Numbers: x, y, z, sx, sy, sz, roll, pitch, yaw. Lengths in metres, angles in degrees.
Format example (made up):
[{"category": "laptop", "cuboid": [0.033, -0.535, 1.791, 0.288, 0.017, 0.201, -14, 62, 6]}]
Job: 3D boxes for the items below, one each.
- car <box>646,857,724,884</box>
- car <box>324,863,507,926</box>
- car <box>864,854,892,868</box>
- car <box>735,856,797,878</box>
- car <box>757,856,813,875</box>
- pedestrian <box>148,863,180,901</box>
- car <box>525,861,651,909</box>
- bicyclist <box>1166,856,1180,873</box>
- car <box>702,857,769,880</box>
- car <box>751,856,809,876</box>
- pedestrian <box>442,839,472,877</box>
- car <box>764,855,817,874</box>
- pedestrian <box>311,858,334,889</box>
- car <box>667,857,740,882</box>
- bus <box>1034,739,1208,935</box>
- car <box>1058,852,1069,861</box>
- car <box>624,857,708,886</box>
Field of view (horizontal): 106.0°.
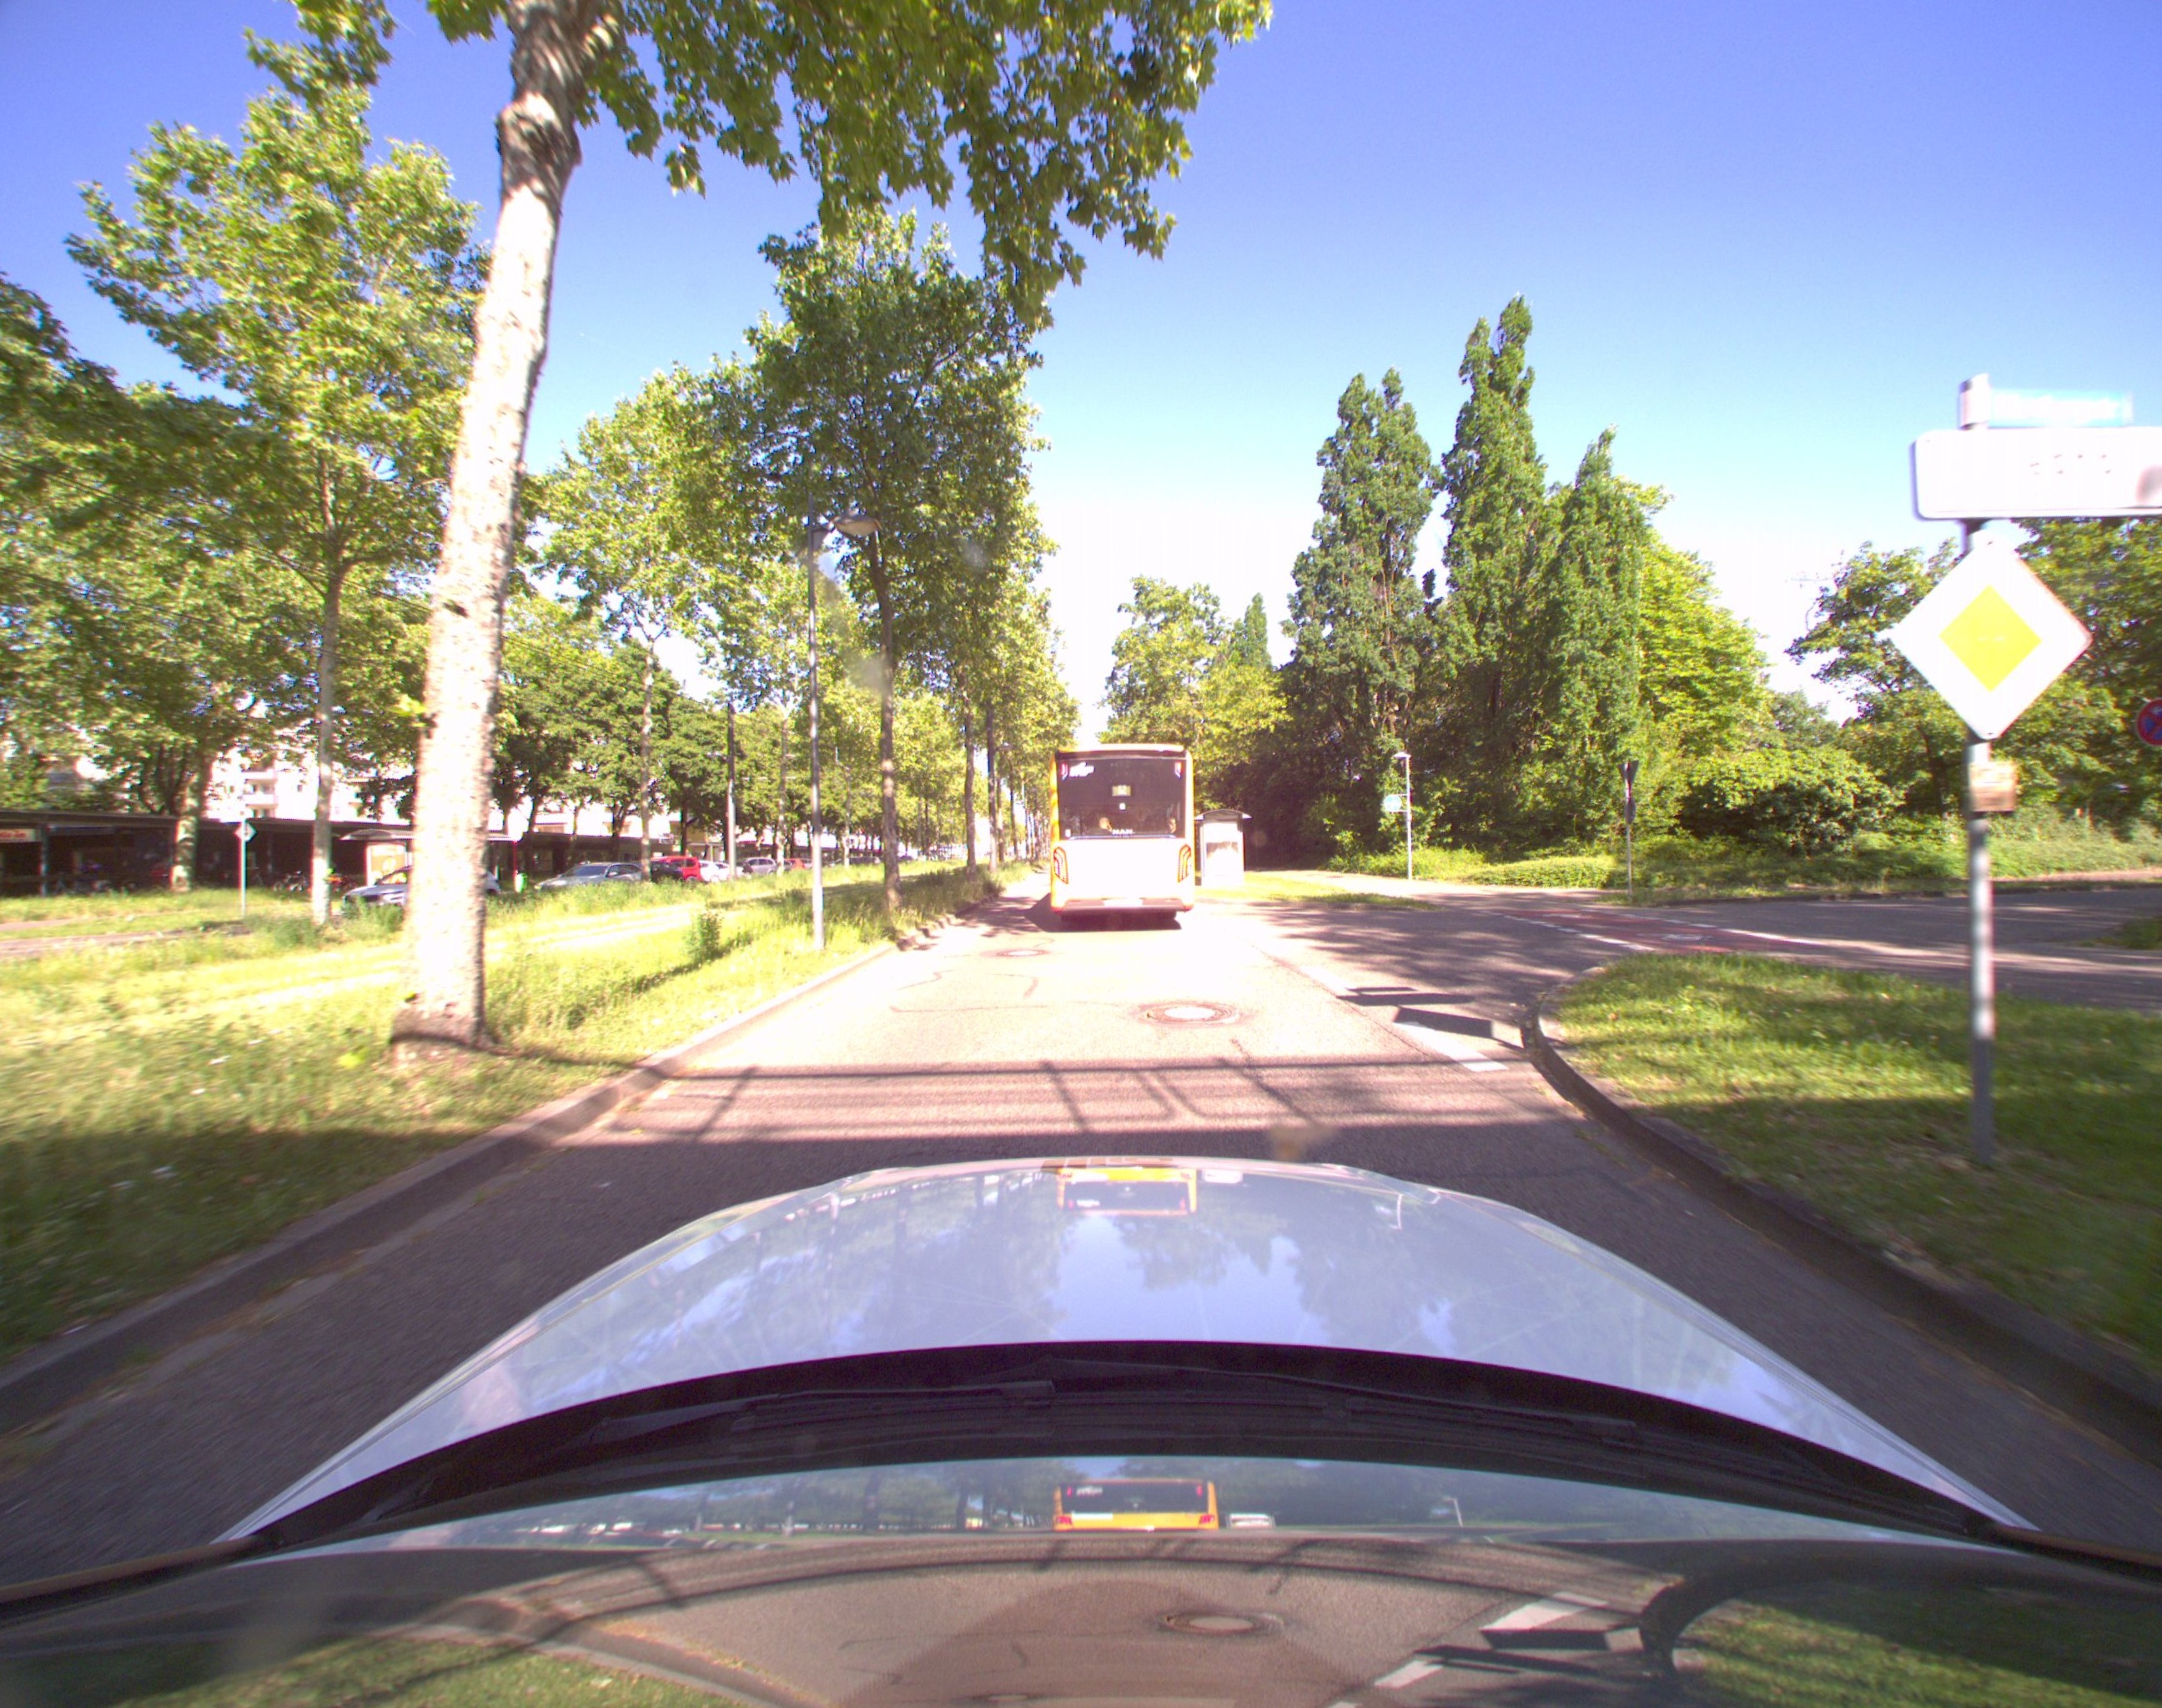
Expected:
[{"category": "car", "cuboid": [-24.816, 1.020, 51.060, 4.024, 1.510, 1.778, -2, 0, -45]}, {"category": "car", "cuboid": [-19.585, 1.123, 24.261, 1.787, 1.580, 4.290, -2, 0, 2]}, {"category": "car", "cuboid": [-22.710, 0.766, 91.297, 1.786, 1.510, 4.006, -2, 0, 5]}, {"category": "car", "cuboid": [-24.045, 0.969, 62.175, 4.024, 1.510, 1.778, -2, 0, -45]}, {"category": "car", "cuboid": [-25.026, 0.955, 68.931, 4.024, 1.510, 1.778, -2, 0, -45]}, {"category": "pedestrian", "cuboid": [-41.067, 1.246, 36.488, 0.647, 1.661, 0.649, -2, 0, -4]}, {"category": "car", "cuboid": [-18.020, 1.069, 30.061, 1.789, 1.510, 4.674, -2, 0, 0]}, {"category": "bicyclist", "cuboid": [9.429, 1.066, 83.621, 1.178, 1.661, 1.027, -2, 0, -7]}, {"category": "car", "cuboid": [-24.654, 1.005, 58.192, 4.022, 1.510, 1.778, -2, 0, -42]}, {"category": "car", "cuboid": [-24.253, 0.950, 65.693, 4.024, 1.510, 1.778, -2, 0, -45]}, {"category": "pedestrian", "cuboid": [-24.688, 0.162, 32.212, 0.645, 1.460, 0.651, -2, 0, 3]}, {"category": "car", "cuboid": [-25.580, 0.913, 71.726, 4.024, 1.510, 1.778, -2, 0, -45]}, {"category": "pedestrian", "cuboid": [-42.154, 1.088, 45.264, 0.647, 1.661, 0.649, -2, 0, -4]}, {"category": "car", "cuboid": [-25.128, 1.022, 54.226, 4.024, 1.510, 1.778, -2, 0, -45]}, {"category": "bus", "cuboid": [0.785, -0.318, 19.999, 2.889, 3.266, 12.220, -1, 0, 1]}, {"category": "car", "cuboid": [-3.683, 0.478, 168.887, 1.978, 1.643, 4.137, 1, 1, 3]}, {"category": "car", "cuboid": [-24.432, 1.021, 47.985, 4.024, 1.510, 1.778, -2, 0, -45]}]
